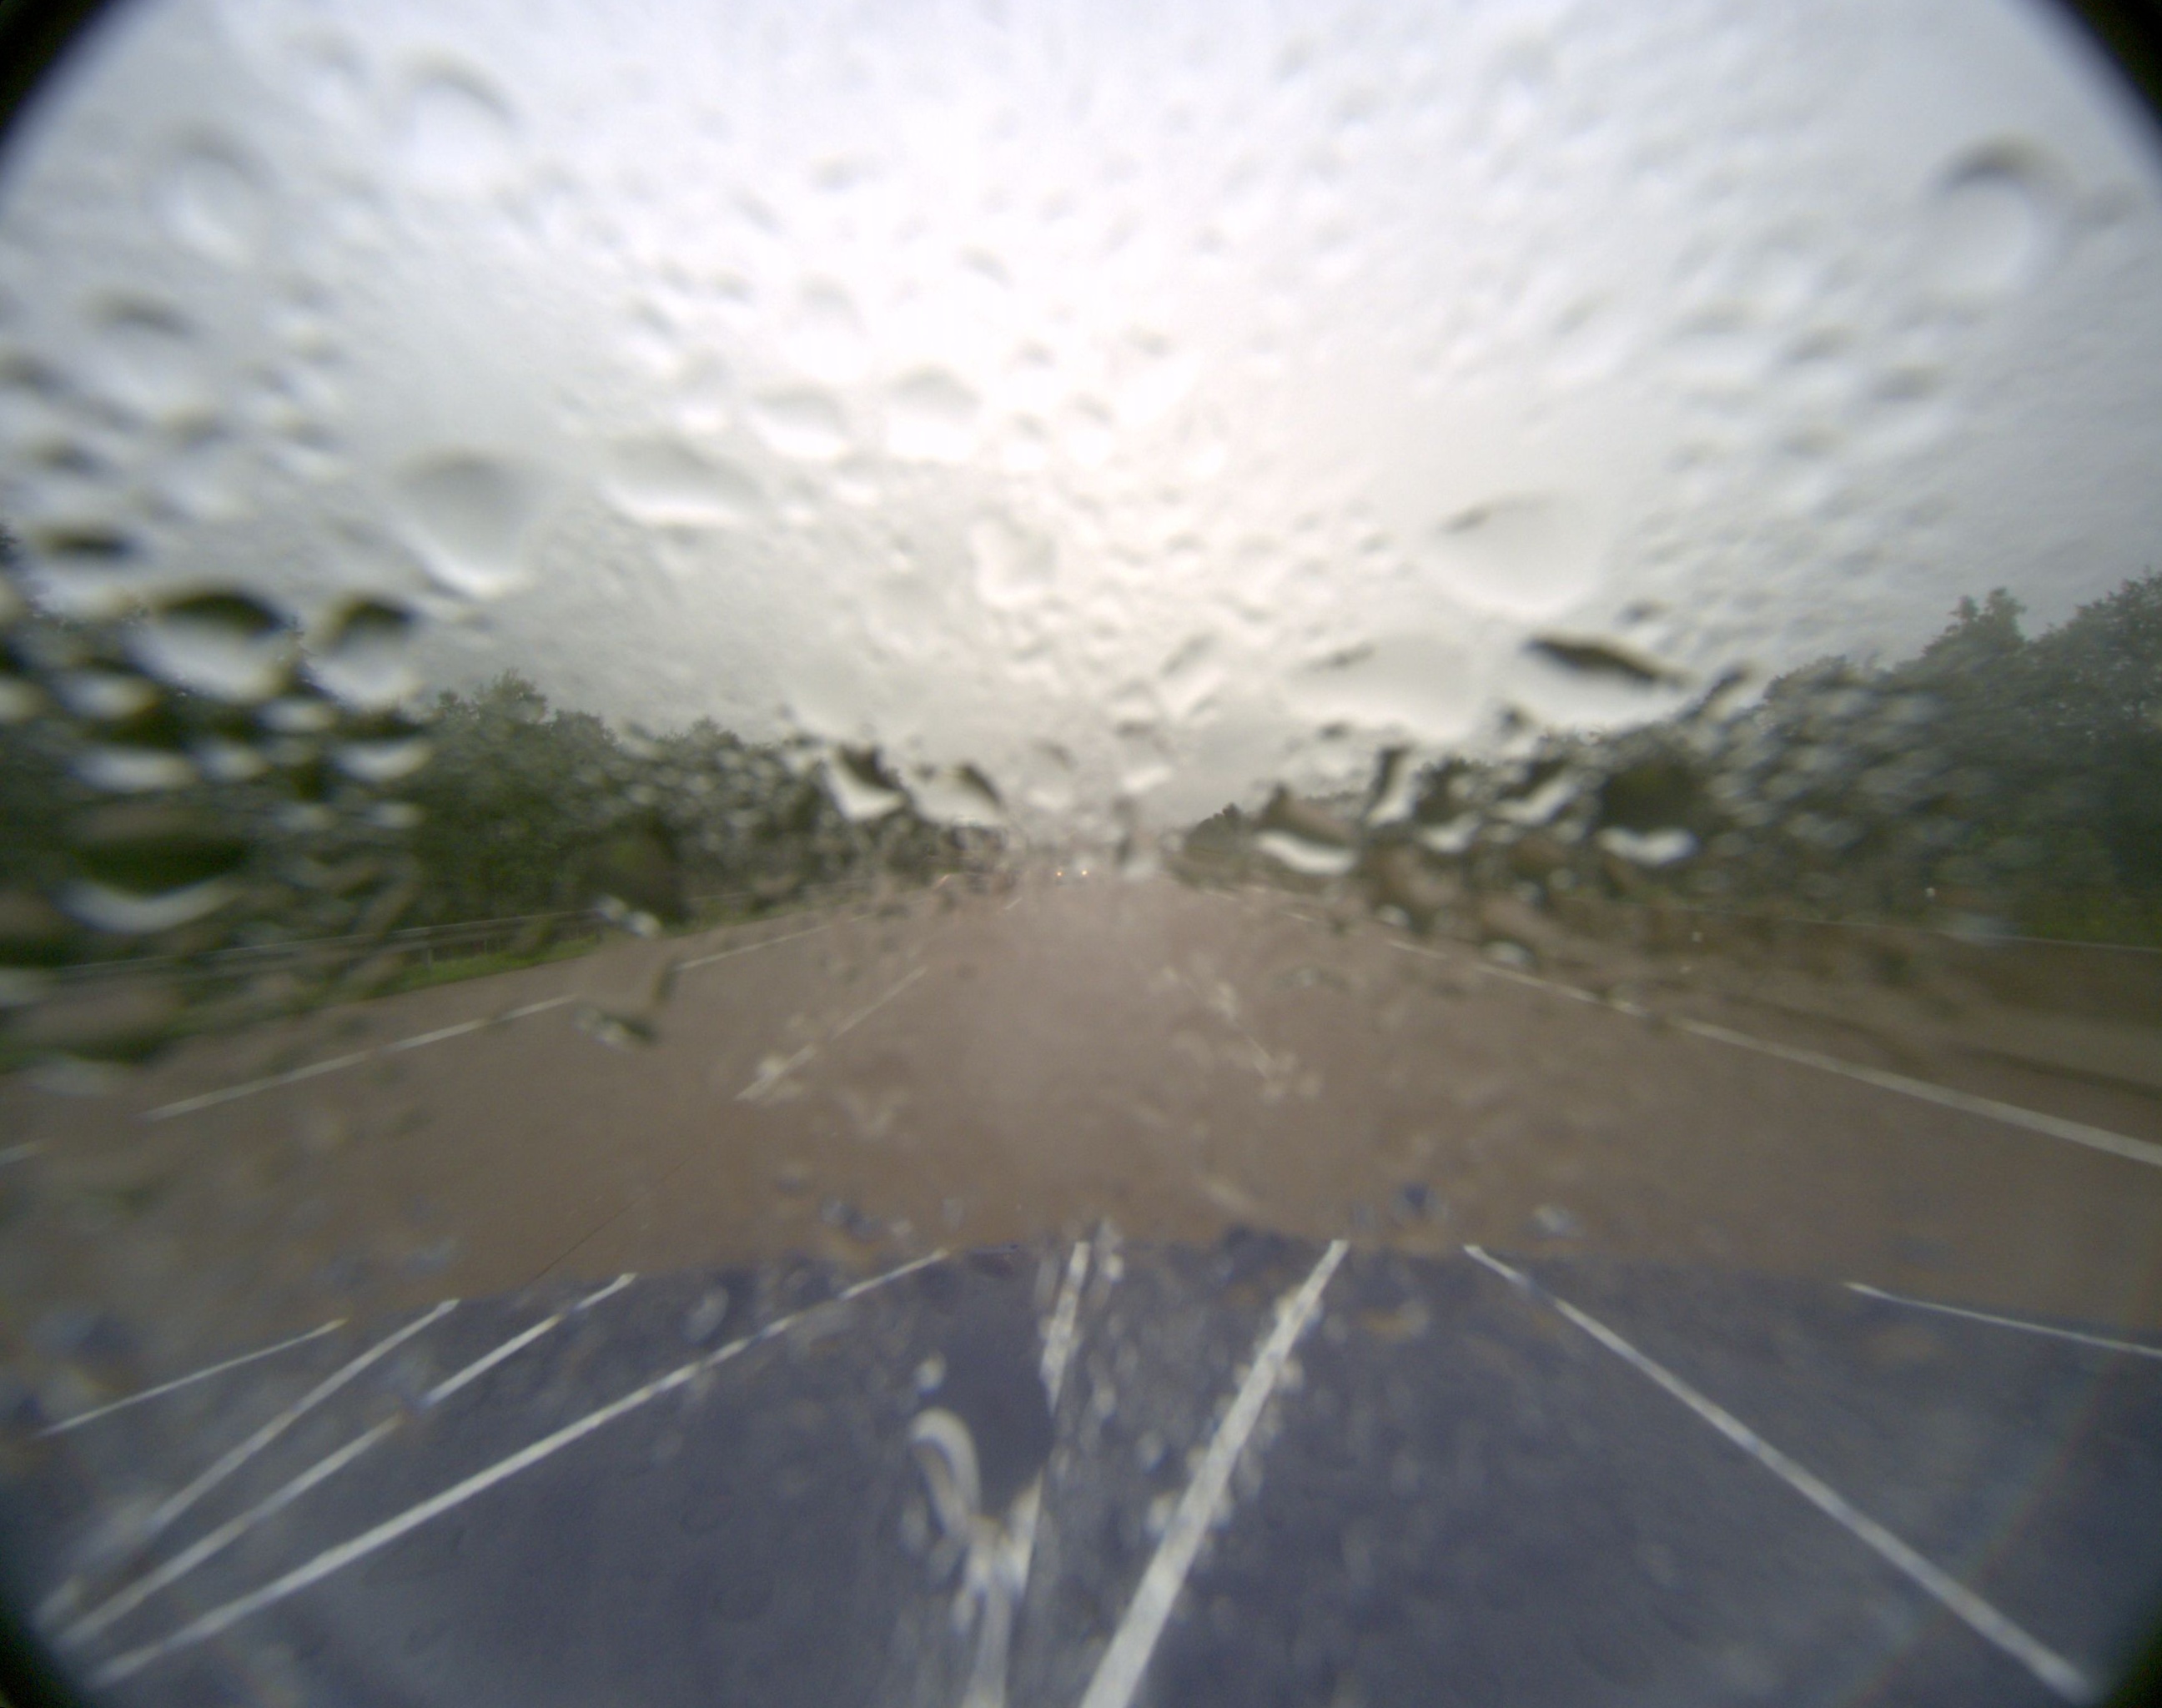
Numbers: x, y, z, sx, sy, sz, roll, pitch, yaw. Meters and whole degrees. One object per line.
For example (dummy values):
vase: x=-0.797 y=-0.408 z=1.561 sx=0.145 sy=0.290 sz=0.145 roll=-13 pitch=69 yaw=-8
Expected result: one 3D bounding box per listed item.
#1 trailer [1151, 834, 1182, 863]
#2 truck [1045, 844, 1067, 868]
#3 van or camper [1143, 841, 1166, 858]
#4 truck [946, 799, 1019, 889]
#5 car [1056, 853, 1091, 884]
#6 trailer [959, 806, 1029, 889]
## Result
trailer: x=15.544 y=-0.975 z=139.334 sx=4.001 sy=5.030 sz=14.236 roll=-2 pitch=0 yaw=1
truck: x=-4.122 y=0.357 z=128.987 sx=3.242 sy=3.708 sz=7.955 roll=-2 pitch=0 yaw=1
van or camper: x=11.838 y=-0.688 z=122.351 sx=2.797 sy=2.391 sz=6.488 roll=-5 pitch=0 yaw=-1
truck: x=-4.713 y=-0.406 z=37.629 sx=2.888 sy=4.082 sz=6.349 roll=0 pitch=-1 yaw=-1
car: x=-0.390 y=0.817 z=44.118 sx=1.812 sy=1.718 sz=4.744 roll=0 pitch=0 yaw=2
trailer: x=-4.846 y=-0.237 z=45.081 sx=2.860 sy=4.206 sz=13.132 roll=0 pitch=-1 yaw=-1
